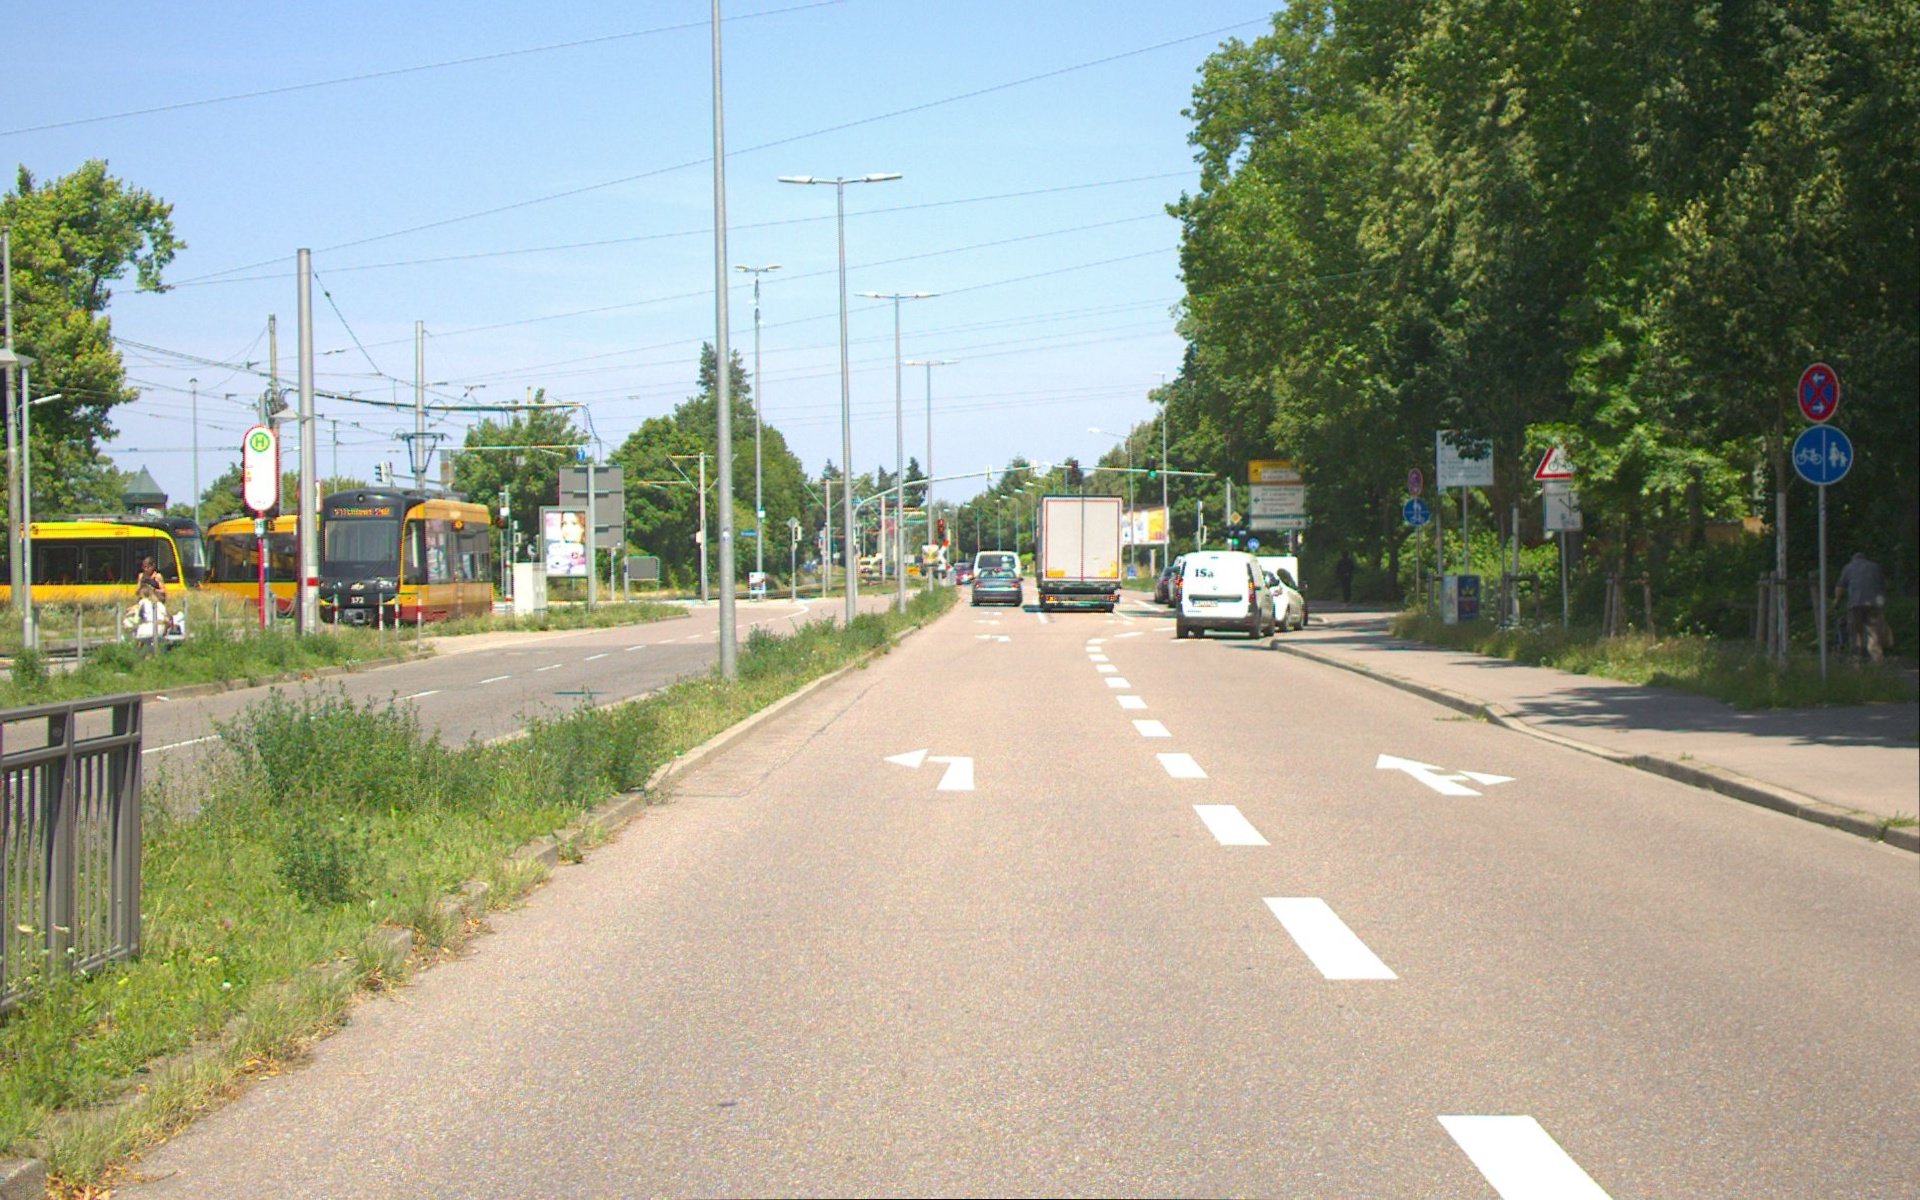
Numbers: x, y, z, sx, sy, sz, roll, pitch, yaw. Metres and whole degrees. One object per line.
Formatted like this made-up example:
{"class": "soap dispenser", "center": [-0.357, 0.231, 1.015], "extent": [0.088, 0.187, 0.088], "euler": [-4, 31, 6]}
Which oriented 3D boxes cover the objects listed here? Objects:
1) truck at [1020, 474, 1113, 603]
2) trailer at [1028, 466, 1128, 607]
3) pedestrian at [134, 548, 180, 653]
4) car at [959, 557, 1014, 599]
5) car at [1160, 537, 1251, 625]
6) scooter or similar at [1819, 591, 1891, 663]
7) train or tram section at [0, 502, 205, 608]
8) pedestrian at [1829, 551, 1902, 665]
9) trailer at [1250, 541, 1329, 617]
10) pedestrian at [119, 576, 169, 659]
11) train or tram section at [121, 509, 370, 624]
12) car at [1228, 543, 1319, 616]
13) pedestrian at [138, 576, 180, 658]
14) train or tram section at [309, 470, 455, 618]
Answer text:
{"class": "truck", "center": [3.703, -2.220, 121.636], "extent": [2.827, 4.329, 8.285], "euler": [2, 1, -1]}
{"class": "trailer", "center": [3.819, -2.066, 113.088], "extent": [2.827, 4.406, 8.750], "euler": [1, 1, -1]}
{"class": "pedestrian", "center": [-12.012, 0.004, 51.447], "extent": [0.534, 1.560, 0.582], "euler": [1, 1, 0]}
{"class": "car", "center": [0.951, -0.788, 124.236], "extent": [1.892, 1.367, 4.430], "euler": [2, -1, 0]}
{"class": "car", "center": [5.084, -0.419, 71.546], "extent": [1.709, 1.741, 4.427], "euler": [1, 1, 2]}
{"class": "scooter or similar", "center": [11.326, 0.338, 43.513], "extent": [0.708, 0.890, 0.763], "euler": [1, 1, 2]}
{"class": "train or tram section", "center": [-32.387, -1.592, 117.025], "extent": [12.710, 3.454, 3.046], "euler": [1, 1, 4]}
{"class": "pedestrian", "center": [11.311, 0.094, 42.966], "extent": [0.708, 1.393, 0.763], "euler": [1, 1, 2]}
{"class": "trailer", "center": [7.443, -0.492, 77.829], "extent": [1.469, 1.663, 2.856], "euler": [1, 1, -1]}
{"class": "pedestrian", "center": [-11.865, 0.255, 50.016], "extent": [0.580, 1.185, 0.536], "euler": [1, 1, 1]}
{"class": "train or tram section", "center": [-22.949, -1.151, 109.582], "extent": [3.036, 3.454, 12.750], "euler": [0, 1, -34]}
{"class": "car", "center": [7.401, -0.512, 81.465], "extent": [1.699, 1.648, 4.399], "euler": [1, 1, 0]}
{"class": "pedestrian", "center": [-11.770, 0.243, 50.514], "extent": [0.494, 1.185, 0.400], "euler": [1, 1, 3]}
{"class": "train or tram section", "center": [-14.670, -1.429, 88.126], "extent": [3.036, 3.454, 13.295], "euler": [1, 1, -7]}
